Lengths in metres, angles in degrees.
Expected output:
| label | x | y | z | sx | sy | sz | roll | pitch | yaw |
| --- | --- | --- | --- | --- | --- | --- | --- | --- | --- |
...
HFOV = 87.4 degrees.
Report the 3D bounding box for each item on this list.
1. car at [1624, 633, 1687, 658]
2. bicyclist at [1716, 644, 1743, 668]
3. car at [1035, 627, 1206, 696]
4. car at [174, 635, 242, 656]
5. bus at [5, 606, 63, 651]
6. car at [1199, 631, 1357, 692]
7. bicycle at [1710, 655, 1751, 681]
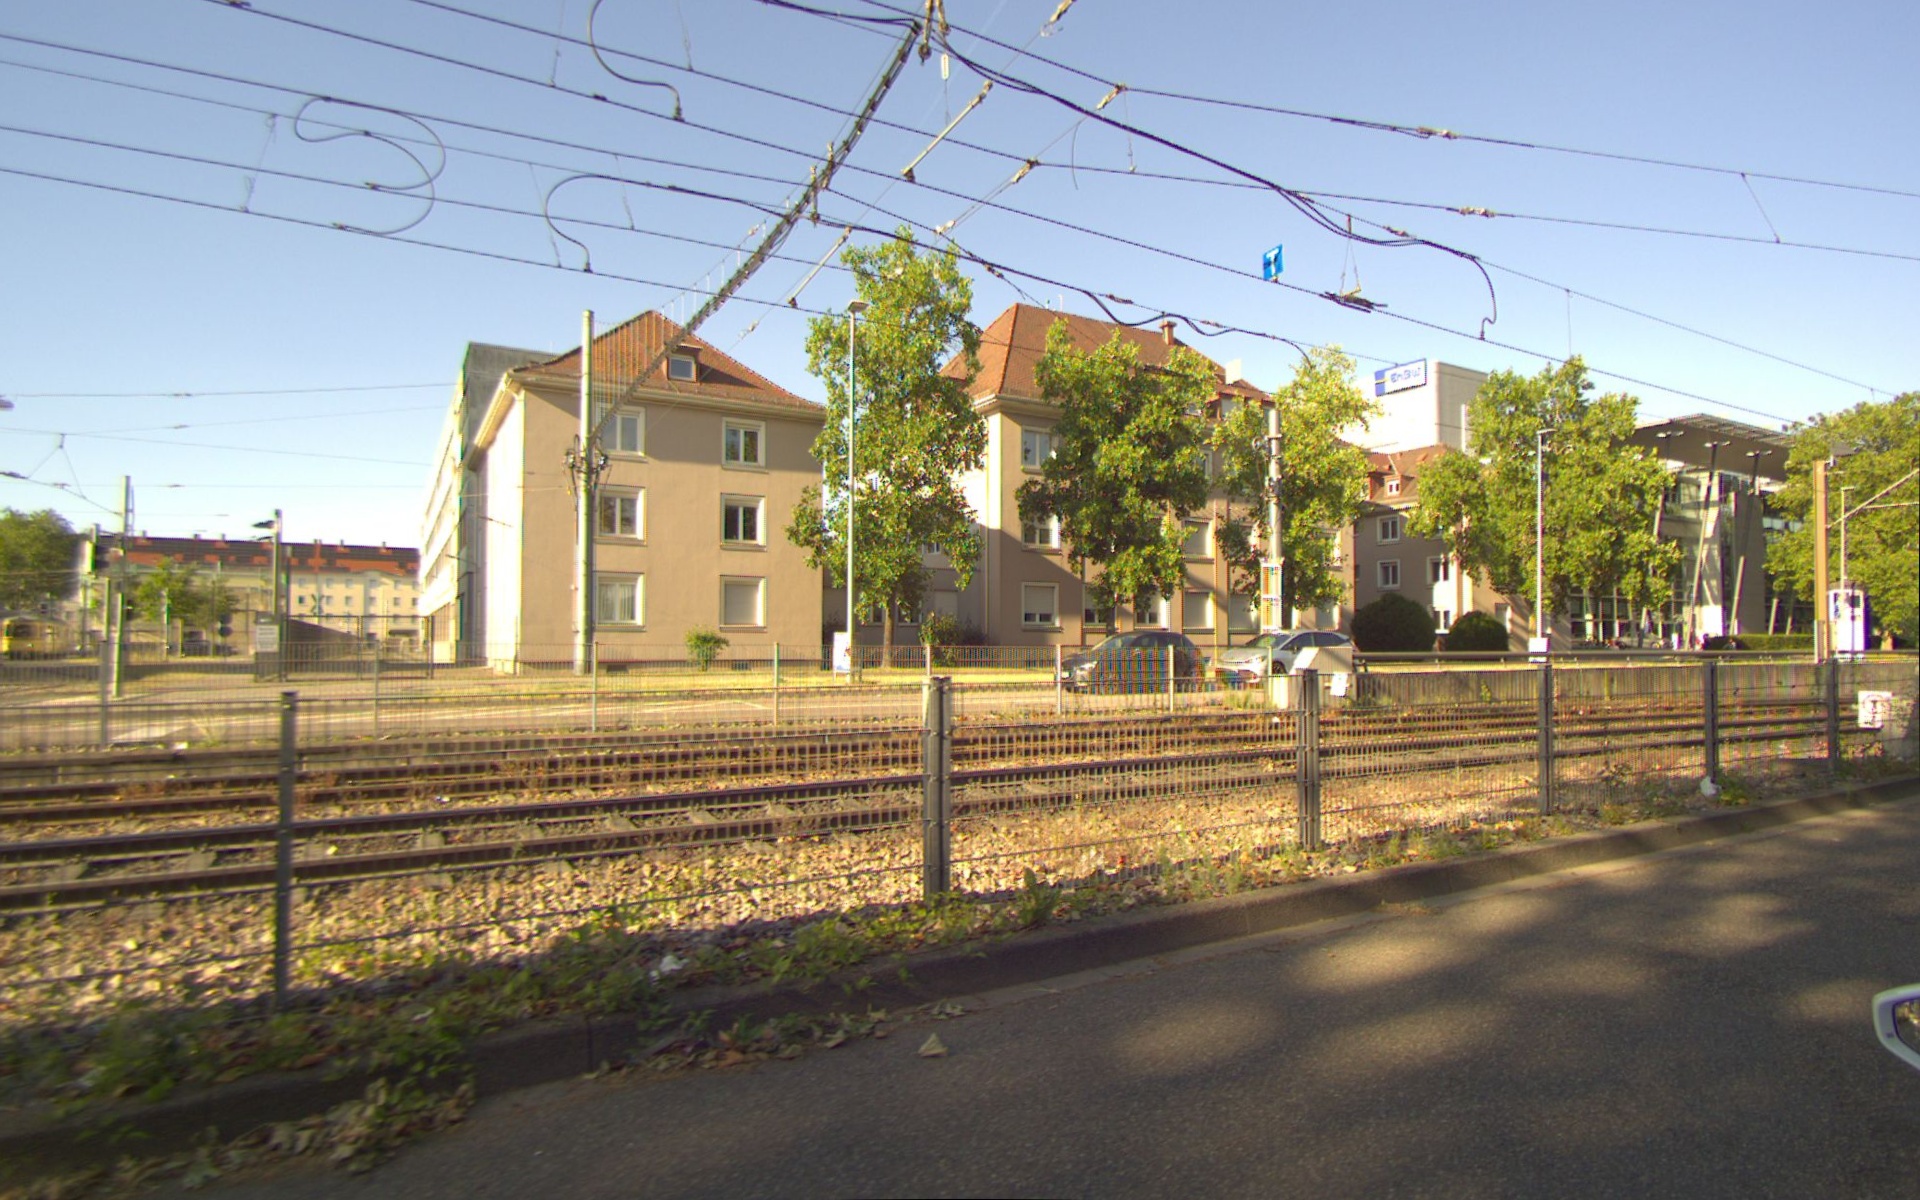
| label | x | y | z | sx | sy | sz | roll | pitch | yaw |
| --- | --- | --- | --- | --- | --- | --- | --- | --- | --- |
| car | 59.626 | 3.922 | 86.205 | 1.977 | 2.040 | 3.968 | 1 | -3 | -31 |
| bicyclist | 47.657 | 3.470 | 62.220 | 1.258 | 1.505 | 0.925 | 1 | -3 | -32 |
| car | 3.947 | 1.468 | 24.526 | 3.954 | 1.567 | 1.731 | 2 | -2 | -31 |
| car | -58.199 | 3.523 | 77.833 | 3.954 | 1.567 | 1.731 | 2 | -2 | -31 |
| bus | -69.397 | 2.133 | 75.374 | 1.891 | 3.181 | 7.632 | 2 | -2 | -33 |
| car | 8.630 | 1.628 | 27.236 | 3.953 | 1.550 | 1.984 | 2 | -2 | -30 |
| bicycle | 47.766 | 4.189 | 62.262 | 3.142 | 1.505 | 0.925 | 1 | -3 | -32 |
